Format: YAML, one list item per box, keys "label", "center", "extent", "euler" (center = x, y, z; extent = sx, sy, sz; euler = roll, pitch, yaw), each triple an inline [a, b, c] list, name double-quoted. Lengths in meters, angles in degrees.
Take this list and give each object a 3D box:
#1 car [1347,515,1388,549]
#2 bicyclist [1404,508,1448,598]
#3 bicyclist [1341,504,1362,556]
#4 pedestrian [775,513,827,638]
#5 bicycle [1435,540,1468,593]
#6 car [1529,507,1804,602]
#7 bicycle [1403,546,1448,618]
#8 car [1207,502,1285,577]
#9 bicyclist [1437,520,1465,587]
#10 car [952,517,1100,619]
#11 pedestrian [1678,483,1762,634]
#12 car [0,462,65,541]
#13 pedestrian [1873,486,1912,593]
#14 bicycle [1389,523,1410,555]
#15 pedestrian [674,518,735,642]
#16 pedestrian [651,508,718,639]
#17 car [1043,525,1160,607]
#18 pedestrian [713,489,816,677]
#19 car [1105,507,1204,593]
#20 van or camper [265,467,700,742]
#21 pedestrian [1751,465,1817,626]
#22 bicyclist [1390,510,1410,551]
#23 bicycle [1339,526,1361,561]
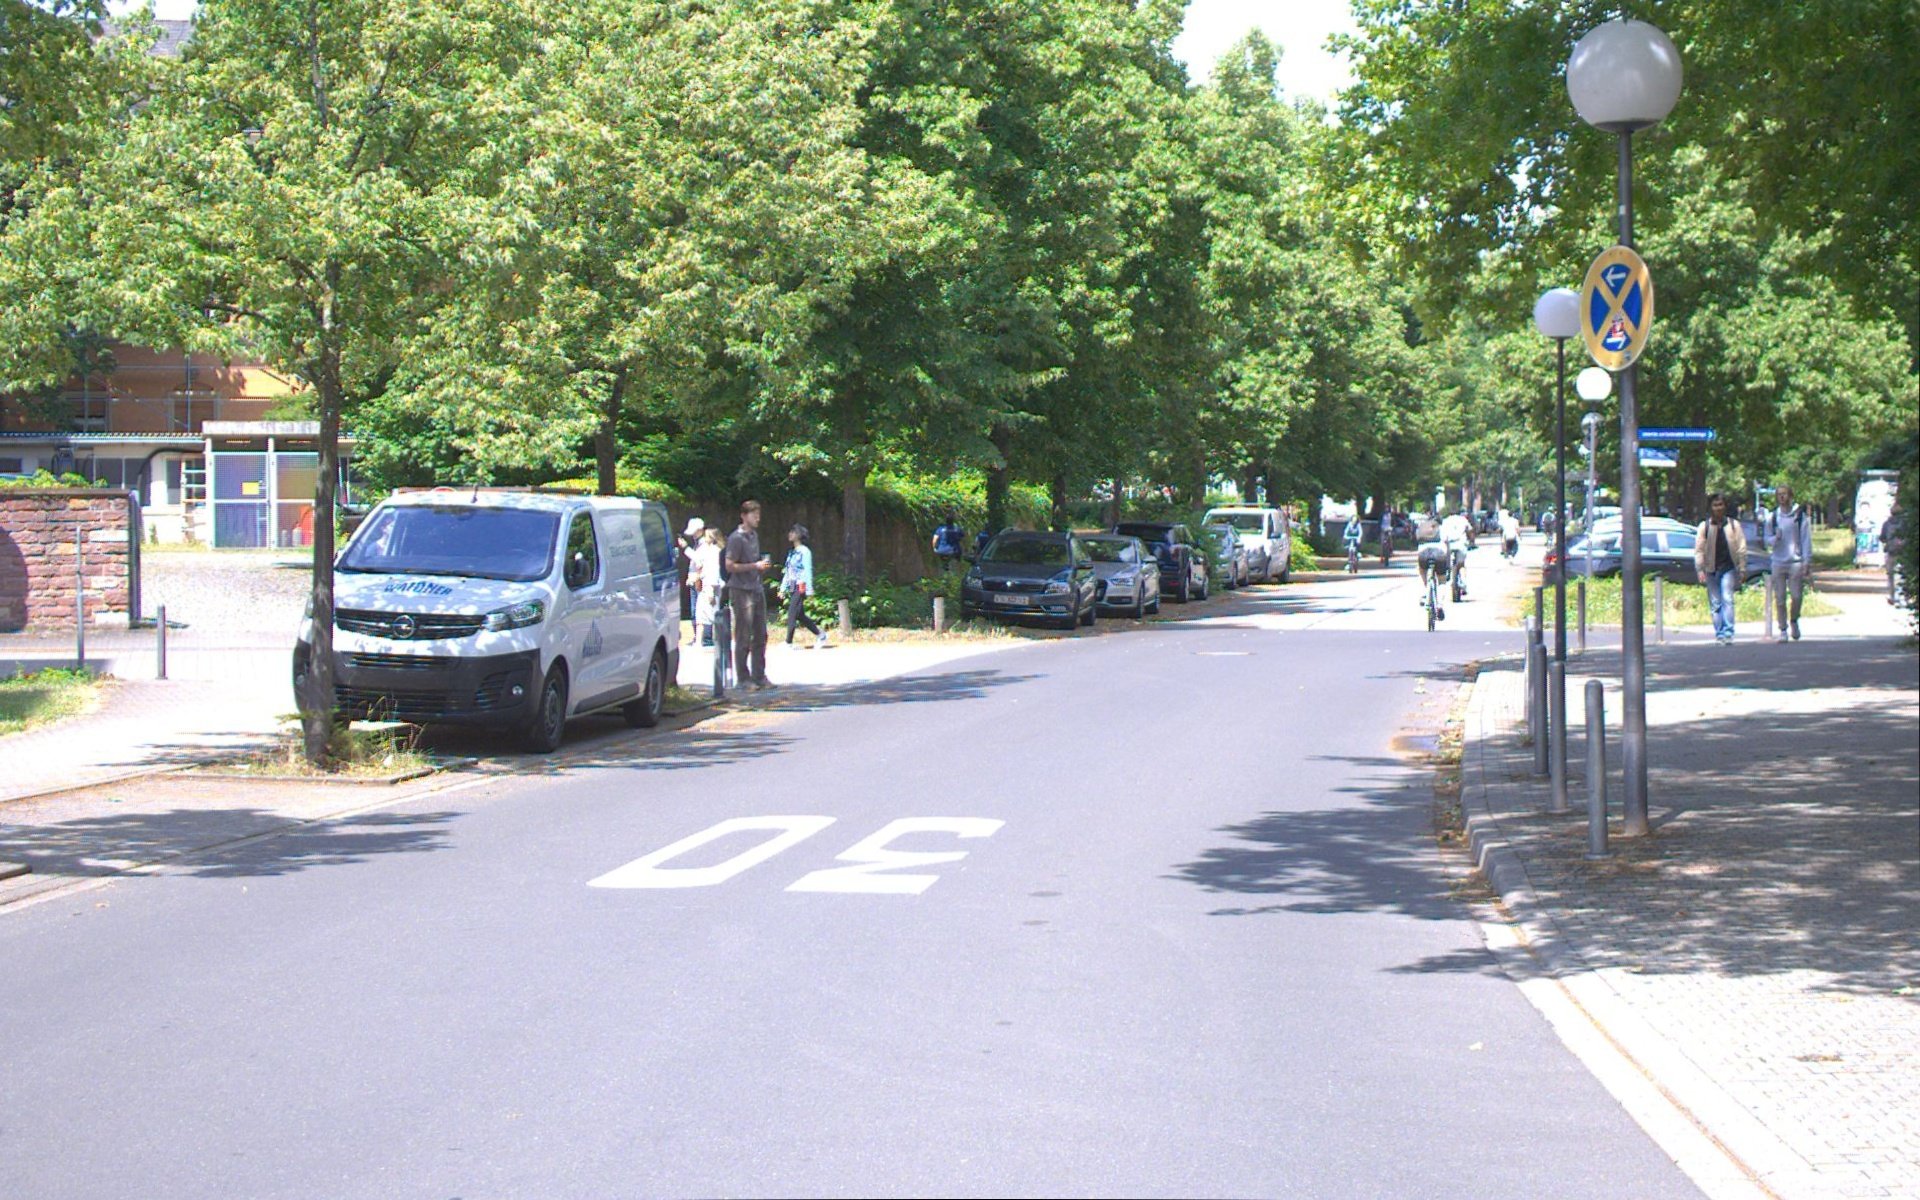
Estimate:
- label: "car"
  center: [16.818, -2.824, 141.853]
  extent: [1.616, 1.360, 4.561]
  euler: [0, 1, 8]
- label: "bicyclist"
  center: [6.711, -0.683, 49.524]
  extent: [0.609, 1.291, 0.610]
  euler: [0, 1, 9]
- label: "bicyclist"
  center: [11.296, -2.016, 99.288]
  extent: [0.563, 1.493, 0.827]
  euler: [0, 1, 9]
- label: "pedestrian"
  center: [-2.028, -0.318, 43.853]
  extent: [0.494, 1.580, 0.494]
  euler: [-1, 1, -31]
- label: "bicycle"
  center: [9.559, -0.650, 66.846]
  extent: [0.614, 0.997, 1.423]
  euler: [0, 2, 9]
- label: "car"
  center: [11.948, -0.780, 58.334]
  extent: [4.487, 1.520, 1.810]
  euler: [-1, 1, 10]
- label: "bicycle"
  center: [6.708, -0.269, 49.519]
  extent: [0.614, 0.997, 1.423]
  euler: [0, 1, 9]
- label: "car"
  center: [7.036, -1.498, 84.357]
  extent: [1.616, 1.809, 3.999]
  euler: [0, 1, 9]
- label: "bicyclist"
  center: [9.552, -0.906, 66.857]
  extent: [0.522, 1.291, 0.610]
  euler: [0, 1, 9]
- label: "car"
  center: [1.064, -0.529, 53.170]
  extent: [1.760, 1.516, 4.110]
  euler: [0, 1, 9]
- label: "pedestrian"
  center: [8.884, -0.491, 40.172]
  extent: [0.822, 1.749, 0.839]
  euler: [0, 2, 22]
- label: "car"
  center: [-20.566, -2.036, 71.243]
  extent: [3.852, 1.616, 1.757]
  euler: [0, 1, -15]
- label: "pedestrian"
  center: [15.302, -0.991, 56.419]
  extent: [0.602, 1.749, 0.628]
  euler: [0, 1, 16]
- label: "bicycle"
  center: [13.956, -1.935, 109.139]
  extent: [0.614, 0.997, 1.423]
  euler: [0, 1, 9]
- label: "pedestrian"
  center: [-3.172, -0.250, 42.681]
  extent: [0.584, 1.521, 0.494]
  euler: [-1, 1, -30]
- label: "pedestrian"
  center: [-3.513, -0.344, 43.858]
  extent: [0.627, 1.657, 0.603]
  euler: [-1, 2, -39]
- label: "car"
  center: [2.537, -0.630, 60.798]
  extent: [1.616, 1.383, 3.999]
  euler: [0, 1, 9]
- label: "pedestrian"
  center: [-1.947, -0.178, 34.255]
  extent: [0.725, 1.850, 0.790]
  euler: [1, 1, 27]
- label: "car"
  center: [3.951, -1.031, 69.361]
  extent: [1.616, 1.673, 3.999]
  euler: [0, 1, 9]
- label: "van or camper"
  center: [-3.604, -0.041, 27.079]
  extent: [1.954, 1.916, 5.419]
  euler: [1, 2, 8]
- label: "pedestrian"
  center: [9.674, -0.643, 40.336]
  extent: [0.672, 1.866, 0.791]
  euler: [0, 1, 19]
- label: "bicyclist"
  center: [13.954, -2.214, 109.097]
  extent: [0.608, 1.291, 0.610]
  euler: [0, 1, 9]
- label: "bicycle"
  center: [11.284, -1.648, 99.346]
  extent: [0.578, 0.997, 1.423]
  euler: [0, 1, 9]
